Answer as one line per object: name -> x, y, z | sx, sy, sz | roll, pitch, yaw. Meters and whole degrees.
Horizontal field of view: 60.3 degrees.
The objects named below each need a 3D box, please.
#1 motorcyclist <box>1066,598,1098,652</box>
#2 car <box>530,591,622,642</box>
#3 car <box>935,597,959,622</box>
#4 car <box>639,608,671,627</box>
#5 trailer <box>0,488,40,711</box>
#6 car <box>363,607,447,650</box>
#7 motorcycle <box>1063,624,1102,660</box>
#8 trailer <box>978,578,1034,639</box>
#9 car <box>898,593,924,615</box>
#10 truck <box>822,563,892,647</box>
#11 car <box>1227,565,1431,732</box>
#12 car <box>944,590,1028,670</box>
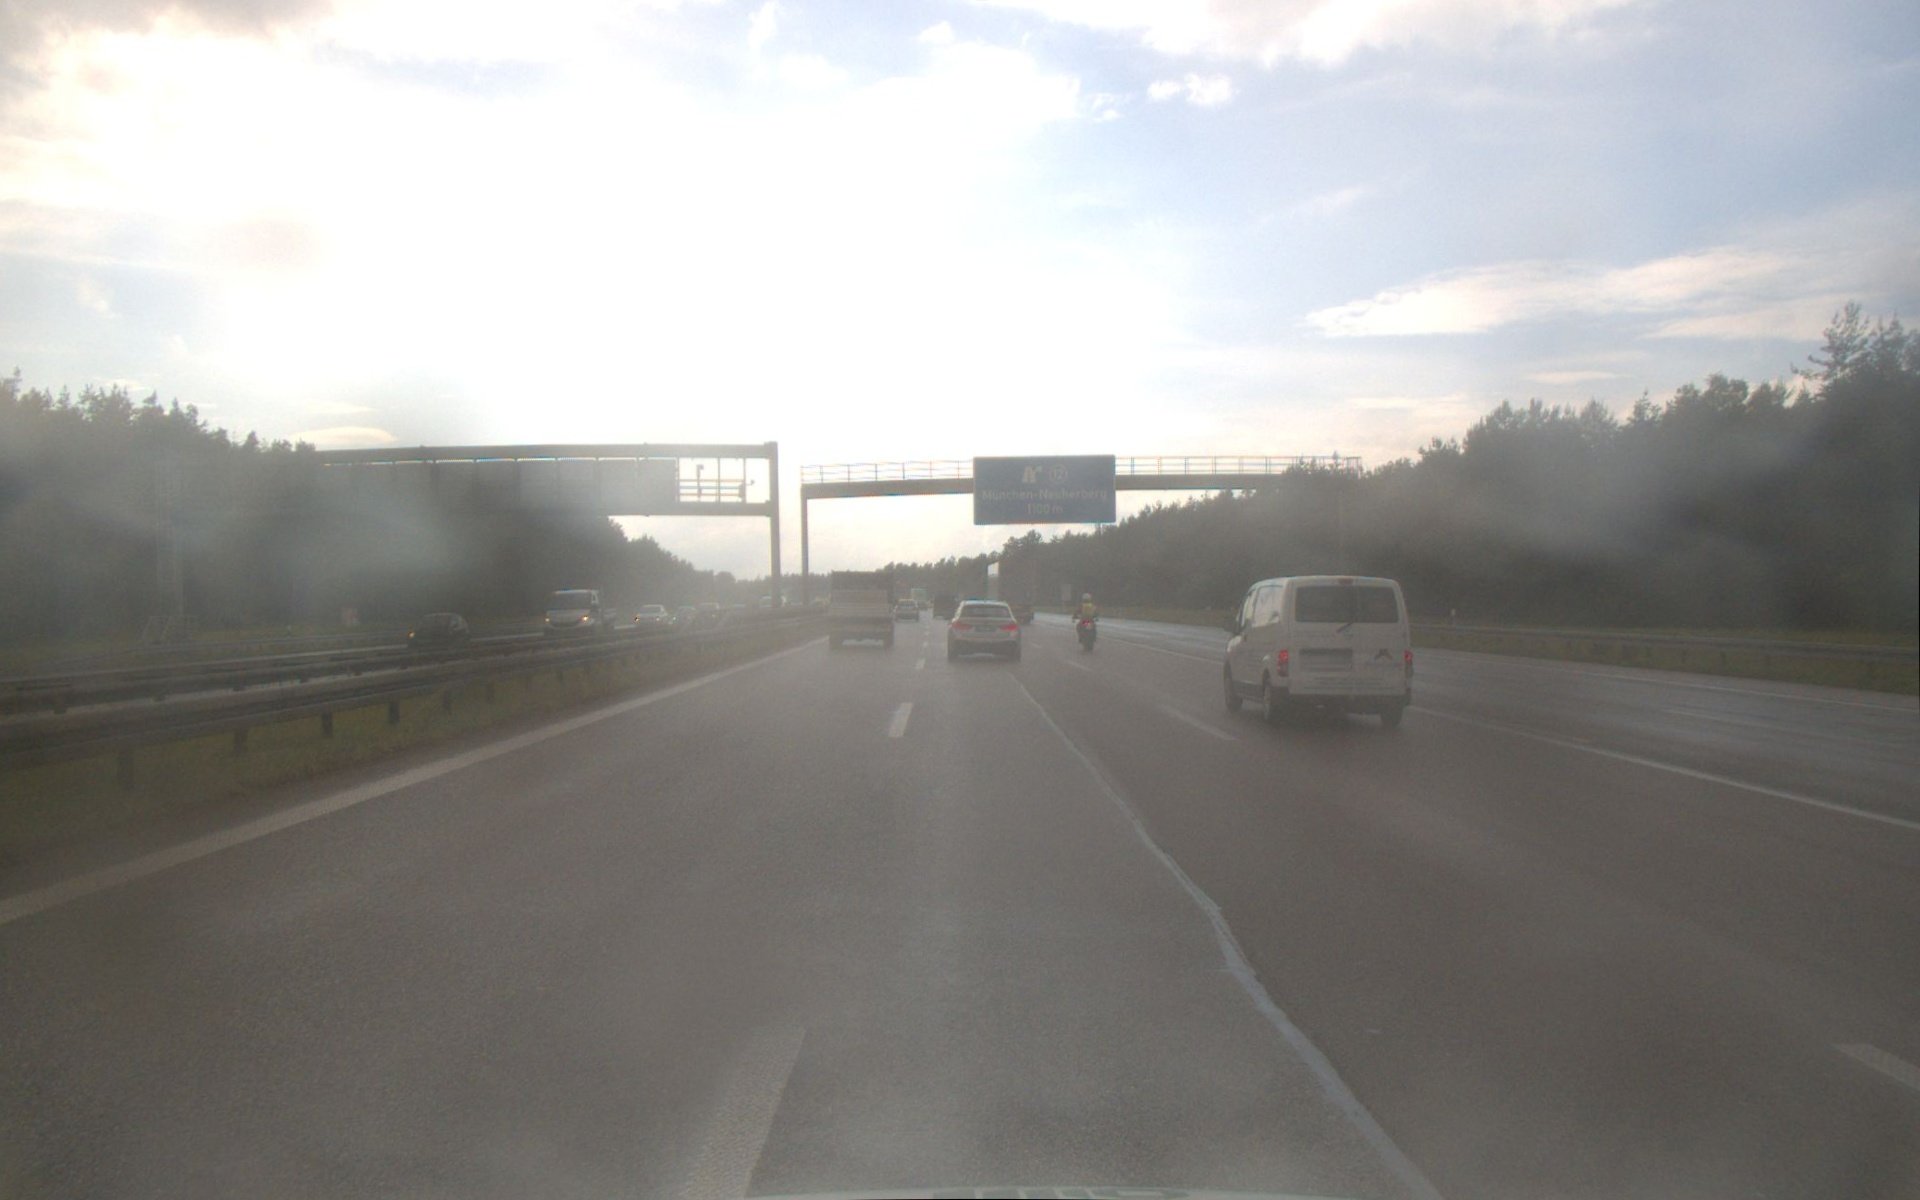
motorcyclist -> 3.744, 0.758, 50.679 | 0.873, 1.643, 0.958 | 0, -1, -2
car -> -16.480, 0.690, 71.311 | 2.236, 2.049, 6.739 | 1, 0, 1
car -> -1.091, 0.794, 137.875 | 1.870, 2.049, 3.998 | 0, 0, -3
car -> -20.405, 1.162, 110.782 | 1.592, 1.280, 3.840 | 0, 0, -2
trailer -> -19.608, -0.066, 26.037 | 2.055, 4.315, 14.623 | 1, 0, 0
car -> -20.349, 1.021, 60.861 | 1.638, 1.485, 4.560 | -1, 0, -1
motorcycle -> 3.733, 1.279, 50.703 | 0.979, 1.049, 2.173 | 0, 0, -2
trailer -> 3.109, 0.594, 116.471 | 2.279, 4.072, 13.394 | 0, 0, -6
car -> -3.454, 0.306, 116.538 | 1.794, 1.492, 3.999 | 1, 0, -2
truck -> -3.271, 0.159, 52.659 | 2.095, 2.533, 5.309 | 0, 0, -3
car -> 4.731, 0.573, 21.908 | 1.922, 1.935, 4.884 | 1, 0, 4
car -> 0.676, 0.720, 42.683 | 2.035, 1.918, 5.012 | 0, 0, 1
